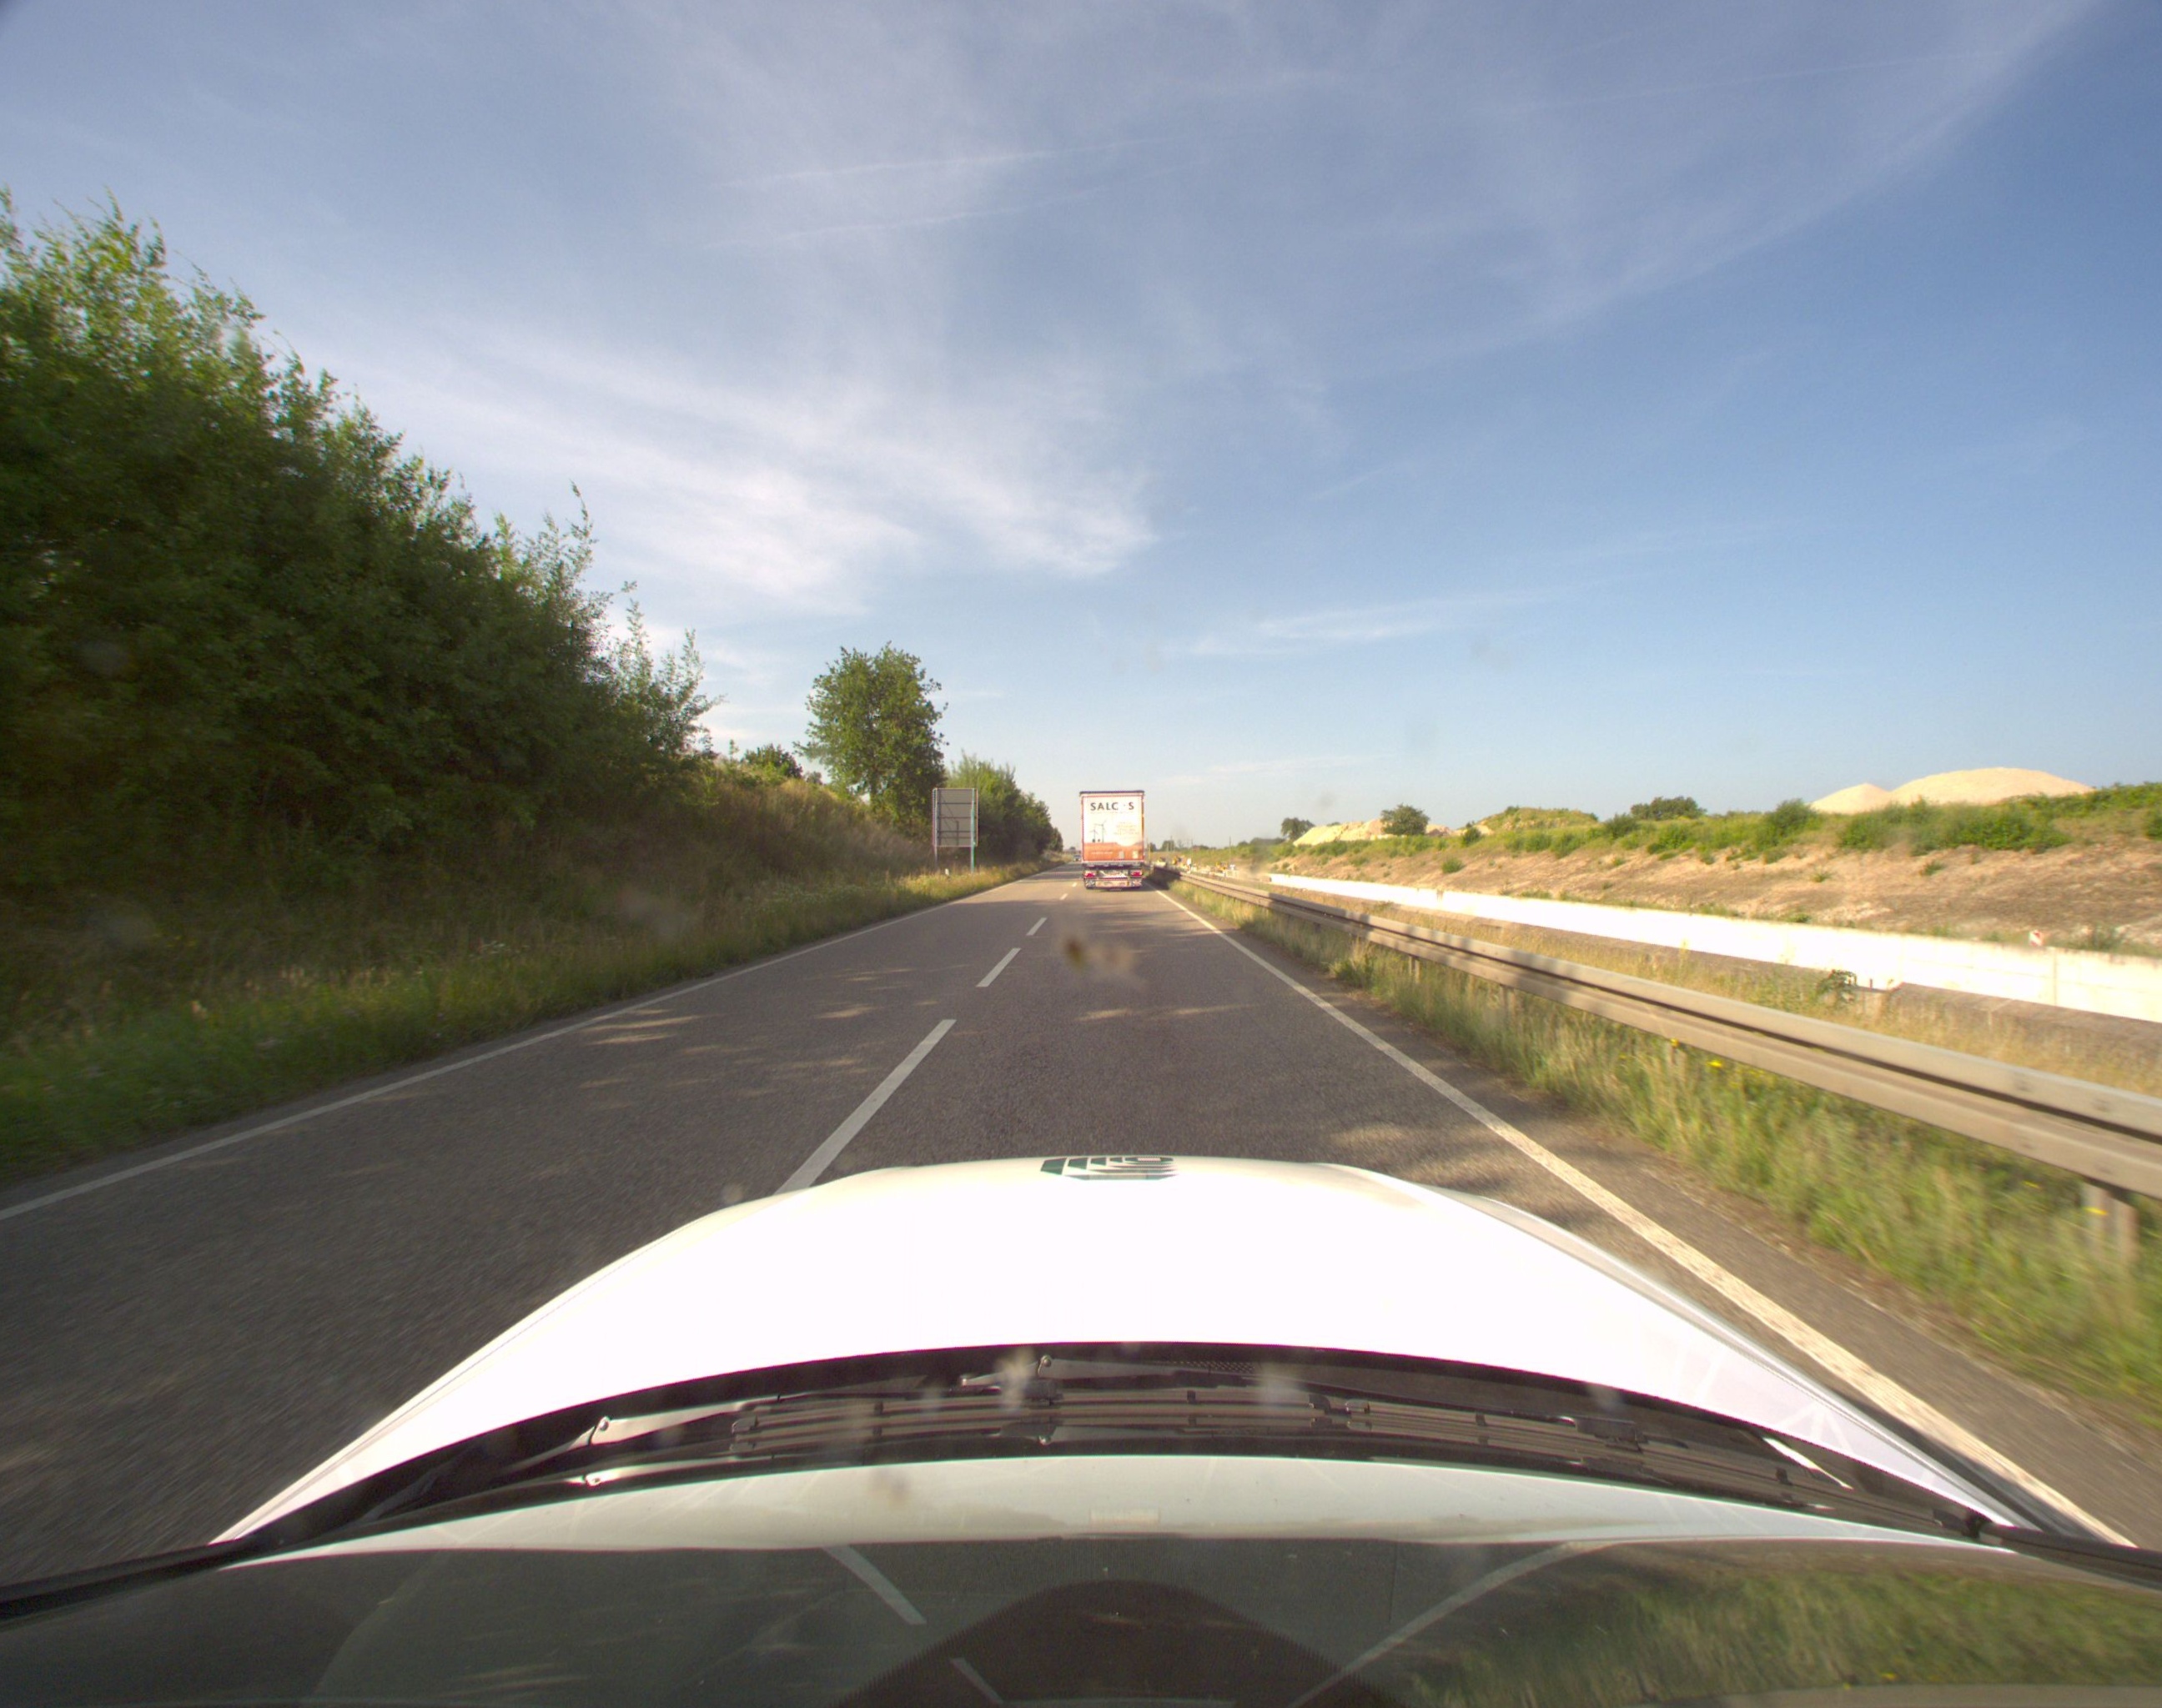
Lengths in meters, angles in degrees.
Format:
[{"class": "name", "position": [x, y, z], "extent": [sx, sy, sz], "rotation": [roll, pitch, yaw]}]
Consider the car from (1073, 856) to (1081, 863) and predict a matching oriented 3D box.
[{"class": "car", "position": [-0.913, 1.147, 185.232], "extent": [1.739, 1.564, 4.365], "rotation": [0, 0, 0]}]

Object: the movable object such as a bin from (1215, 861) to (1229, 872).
[{"class": "movable object such as a bin", "position": [33.699, 3.031, 194.810], "extent": [2.877, 2.661, 2.031], "rotation": [-1, 0, 25]}]

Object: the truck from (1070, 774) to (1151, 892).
[{"class": "truck", "position": [1.223, -0.824, 36.837], "extent": [3.142, 4.688, 8.441], "rotation": [-1, 0, 1]}]
